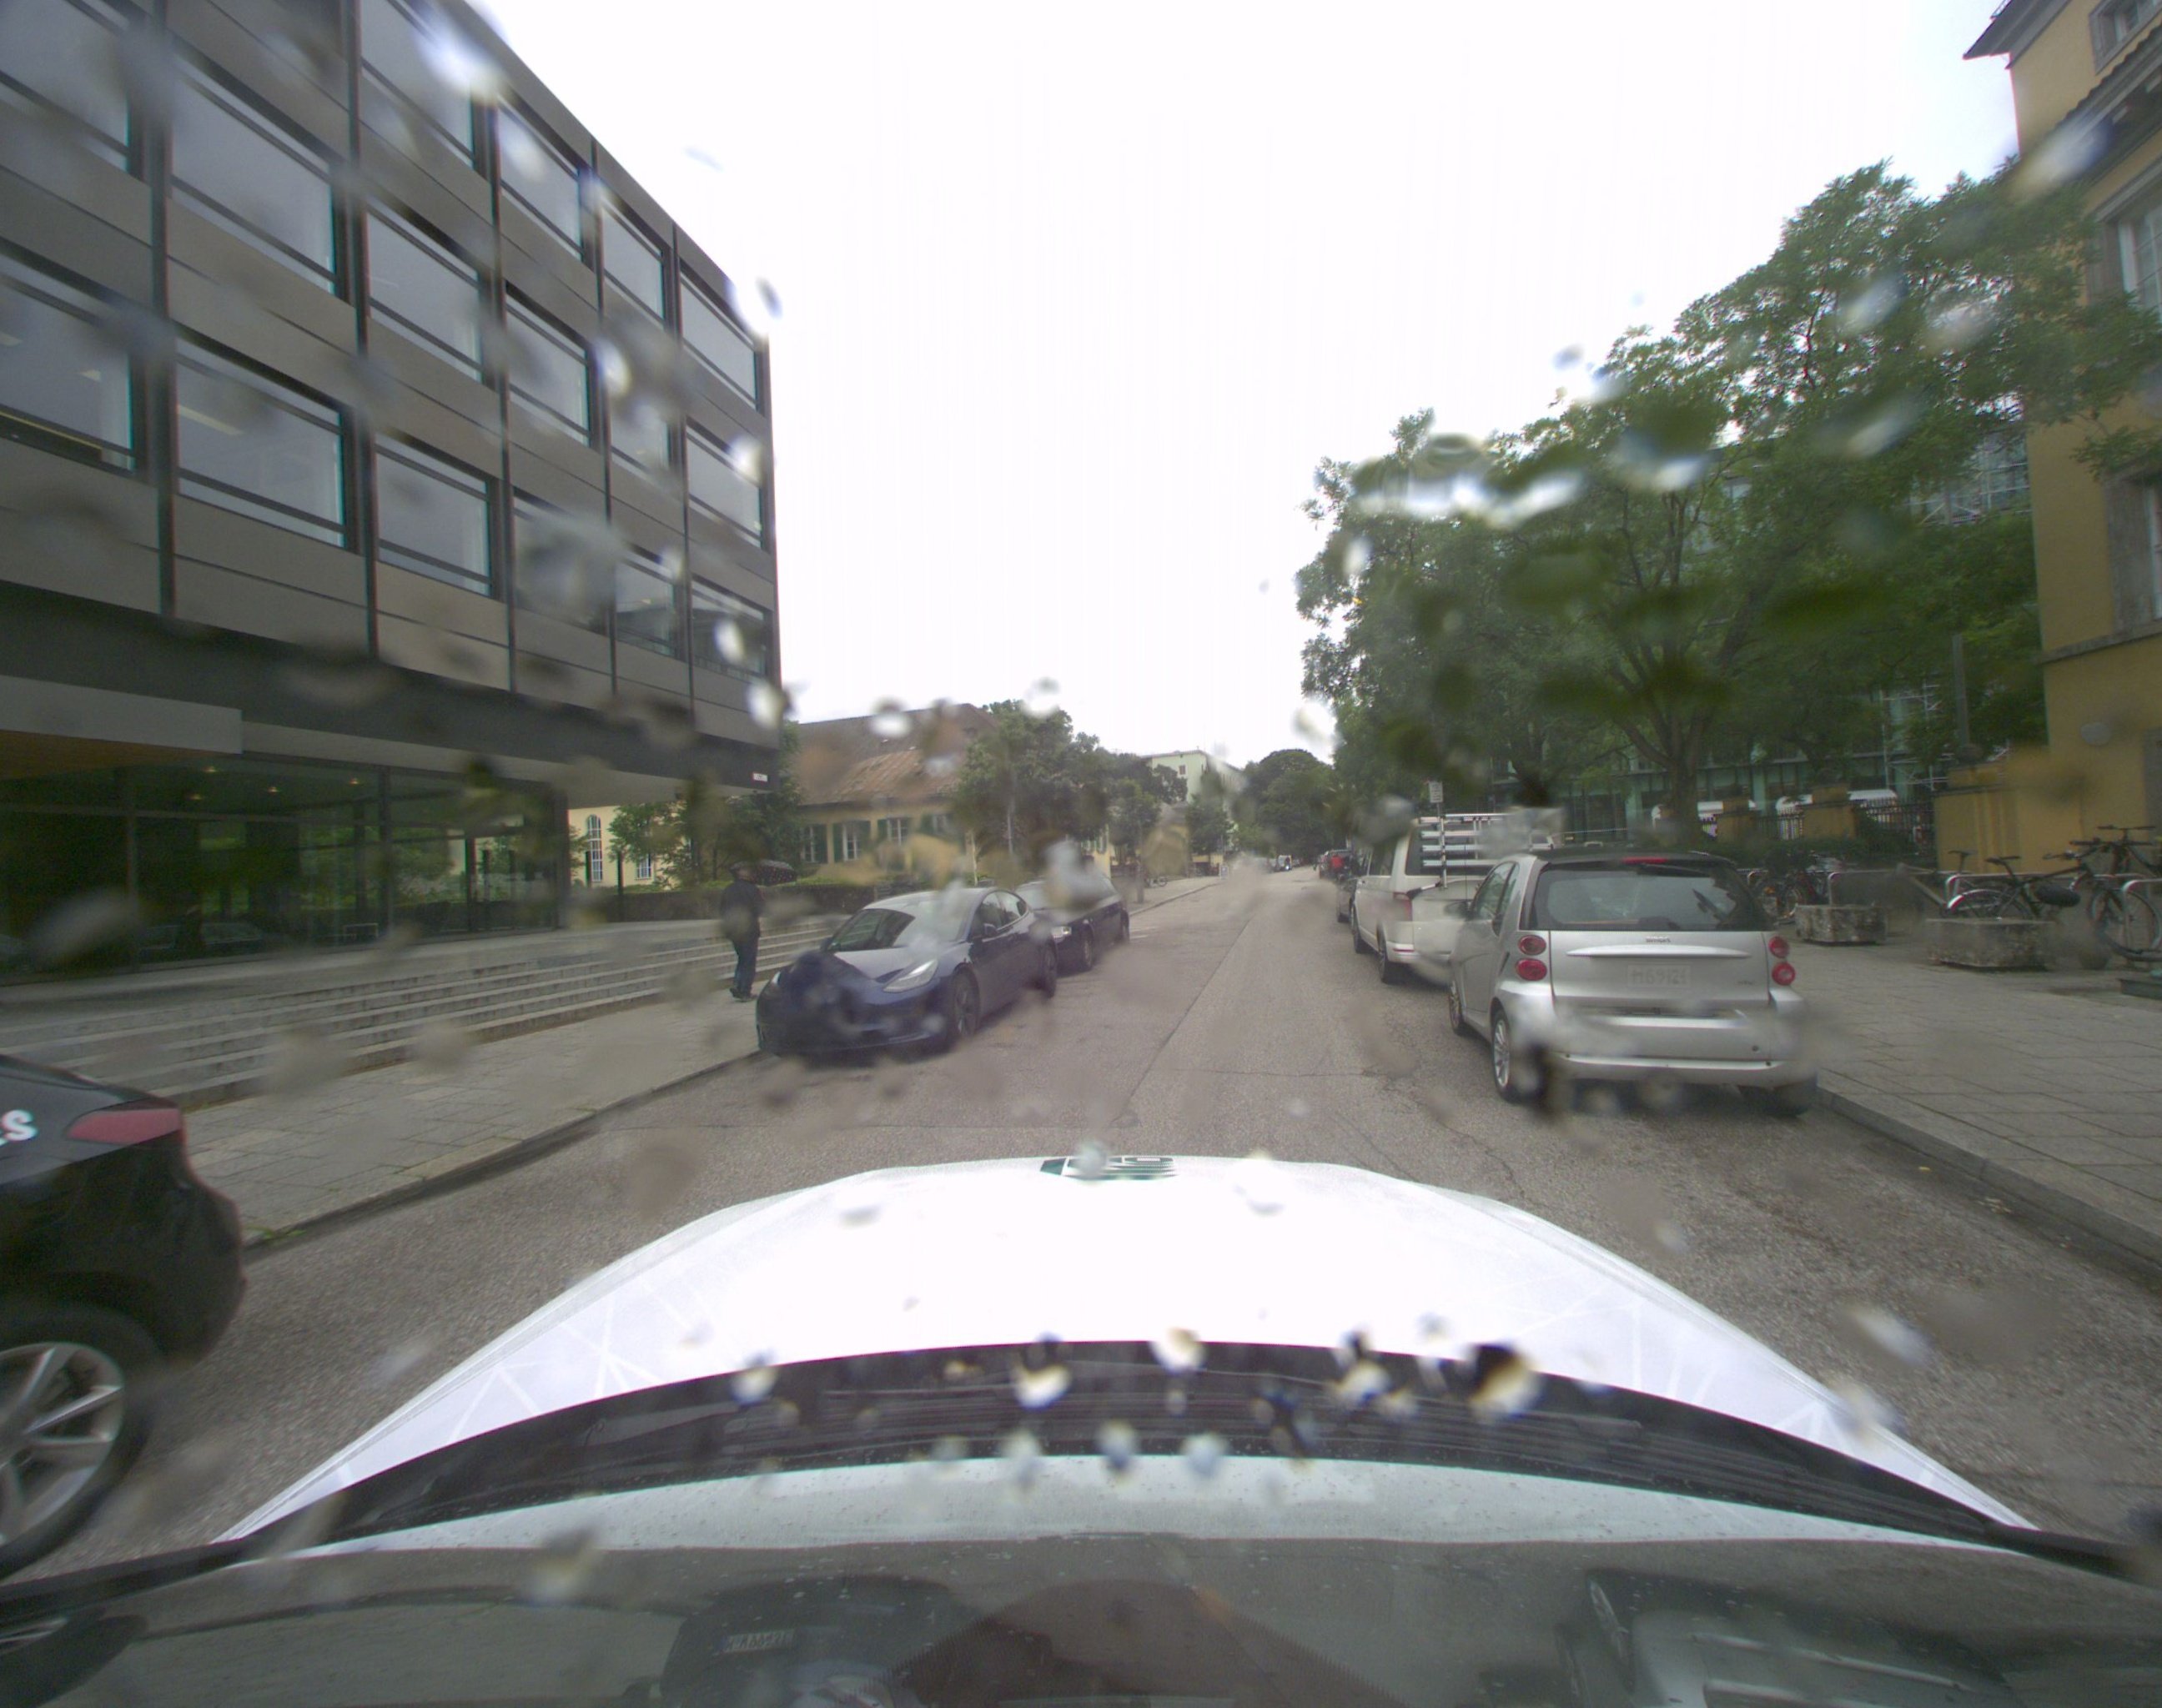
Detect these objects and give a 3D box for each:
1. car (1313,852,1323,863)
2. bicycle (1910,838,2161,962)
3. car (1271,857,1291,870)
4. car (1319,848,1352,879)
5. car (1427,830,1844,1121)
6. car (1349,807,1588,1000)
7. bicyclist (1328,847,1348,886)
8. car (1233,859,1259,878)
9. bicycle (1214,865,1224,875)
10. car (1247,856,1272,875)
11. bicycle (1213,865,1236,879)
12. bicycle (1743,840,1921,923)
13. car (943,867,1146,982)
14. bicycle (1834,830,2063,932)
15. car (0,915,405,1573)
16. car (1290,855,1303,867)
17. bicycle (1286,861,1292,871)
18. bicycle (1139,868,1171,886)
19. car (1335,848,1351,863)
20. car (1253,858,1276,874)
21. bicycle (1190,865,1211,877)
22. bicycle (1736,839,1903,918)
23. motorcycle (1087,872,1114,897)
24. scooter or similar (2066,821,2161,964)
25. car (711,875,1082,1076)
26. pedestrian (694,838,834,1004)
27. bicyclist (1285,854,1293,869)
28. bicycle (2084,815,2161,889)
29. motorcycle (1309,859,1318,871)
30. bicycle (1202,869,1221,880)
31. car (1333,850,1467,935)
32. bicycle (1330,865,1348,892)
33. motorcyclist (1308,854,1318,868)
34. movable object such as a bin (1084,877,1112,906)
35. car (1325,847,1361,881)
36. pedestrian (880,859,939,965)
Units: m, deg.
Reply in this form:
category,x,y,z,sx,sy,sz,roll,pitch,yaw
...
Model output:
category,x,y,z,sx,sy,sz,roll,pitch,yaw
car,48.884,0.719,167.841,1.978,2.099,4.018,-1,0,17
bicycle,9.882,0.471,8.365,1.919,1.113,0.473,-5,-1,11
car,25.143,1.225,102.363,1.977,1.486,4.019,-4,-1,19
car,16.608,0.592,53.135,1.848,1.794,4.530,-4,-1,17
car,3.633,0.663,5.946,1.594,1.546,2.945,-1,0,15
car,4.791,0.515,10.936,1.832,1.933,5.292,-1,0,13
bicyclist,10.254,0.501,32.448,0.666,1.498,1.100,-4,-3,18
car,13.875,1.212,68.433,1.720,1.581,3.805,0,0,18
bicycle,13.653,1.572,80.634,0.616,1.004,1.627,-3,-2,20
car,17.683,1.103,80.507,1.978,1.648,4.676,-3,-1,17
bicycle,11.381,1.431,64.393,2.152,1.004,0.616,-1,0,-42
bicycle,11.379,0.422,12.402,1.917,1.113,0.473,-5,-1,16
car,-0.372,1.073,14.112,1.979,1.491,4.903,-5,-2,15
bicycle,10.725,0.343,10.136,1.917,1.113,0.473,-5,-1,16
car,-3.735,1.016,0.921,1.727,1.461,4.254,-6,-2,16
car,35.099,1.117,132.299,1.796,1.683,4.018,-4,-1,17
bicycle,23.296,1.337,91.296,0.617,1.004,2.148,-4,-1,14
bicycle,4.602,1.431,50.694,1.915,1.099,0.617,-1,-1,17
car,38.308,0.221,119.198,1.979,2.060,4.642,-3,-1,15
car,19.252,1.242,85.371,1.978,1.603,4.016,-3,-2,16
bicycle,10.137,1.474,68.986,1.614,0.926,0.649,-3,-3,-10
bicycle,11.835,0.401,13.105,1.917,1.113,0.473,-5,-1,16
motorcycle,0.868,1.399,37.293,0.559,1.101,1.824,-1,-1,-22
scooter or similar,9.515,0.323,7.122,0.540,1.222,1.002,-3,-2,-31
car,-1.534,1.058,8.958,1.909,1.439,4.935,-5,-2,13
pedestrian,-4.239,0.863,10.985,1.127,2.055,1.226,-5,-2,13
bicyclist,23.291,0.814,91.271,0.738,1.576,0.981,-3,-1,13
bicycle,17.332,-0.036,13.012,0.538,1.154,1.909,-4,-1,13
motorcycle,24.529,1.128,85.965,0.654,1.206,2.253,-4,-1,20
bicycle,12.095,1.902,75.299,1.620,1.004,0.619,-2,-3,-23
car,6.337,0.685,16.738,1.759,1.490,4.990,-1,0,12
bicycle,10.284,0.962,32.501,0.616,1.004,2.149,-4,-3,17
motorcyclist,24.500,0.752,85.967,0.785,1.510,1.154,-3,-2,20
movable object such as a bin,0.673,1.478,32.092,0.929,1.064,0.843,-3,-1,12
car,15.543,0.569,48.408,1.747,1.823,4.155,-3,-1,15
pedestrian,-2.964,0.980,14.168,0.751,1.749,0.952,-3,-1,-2
